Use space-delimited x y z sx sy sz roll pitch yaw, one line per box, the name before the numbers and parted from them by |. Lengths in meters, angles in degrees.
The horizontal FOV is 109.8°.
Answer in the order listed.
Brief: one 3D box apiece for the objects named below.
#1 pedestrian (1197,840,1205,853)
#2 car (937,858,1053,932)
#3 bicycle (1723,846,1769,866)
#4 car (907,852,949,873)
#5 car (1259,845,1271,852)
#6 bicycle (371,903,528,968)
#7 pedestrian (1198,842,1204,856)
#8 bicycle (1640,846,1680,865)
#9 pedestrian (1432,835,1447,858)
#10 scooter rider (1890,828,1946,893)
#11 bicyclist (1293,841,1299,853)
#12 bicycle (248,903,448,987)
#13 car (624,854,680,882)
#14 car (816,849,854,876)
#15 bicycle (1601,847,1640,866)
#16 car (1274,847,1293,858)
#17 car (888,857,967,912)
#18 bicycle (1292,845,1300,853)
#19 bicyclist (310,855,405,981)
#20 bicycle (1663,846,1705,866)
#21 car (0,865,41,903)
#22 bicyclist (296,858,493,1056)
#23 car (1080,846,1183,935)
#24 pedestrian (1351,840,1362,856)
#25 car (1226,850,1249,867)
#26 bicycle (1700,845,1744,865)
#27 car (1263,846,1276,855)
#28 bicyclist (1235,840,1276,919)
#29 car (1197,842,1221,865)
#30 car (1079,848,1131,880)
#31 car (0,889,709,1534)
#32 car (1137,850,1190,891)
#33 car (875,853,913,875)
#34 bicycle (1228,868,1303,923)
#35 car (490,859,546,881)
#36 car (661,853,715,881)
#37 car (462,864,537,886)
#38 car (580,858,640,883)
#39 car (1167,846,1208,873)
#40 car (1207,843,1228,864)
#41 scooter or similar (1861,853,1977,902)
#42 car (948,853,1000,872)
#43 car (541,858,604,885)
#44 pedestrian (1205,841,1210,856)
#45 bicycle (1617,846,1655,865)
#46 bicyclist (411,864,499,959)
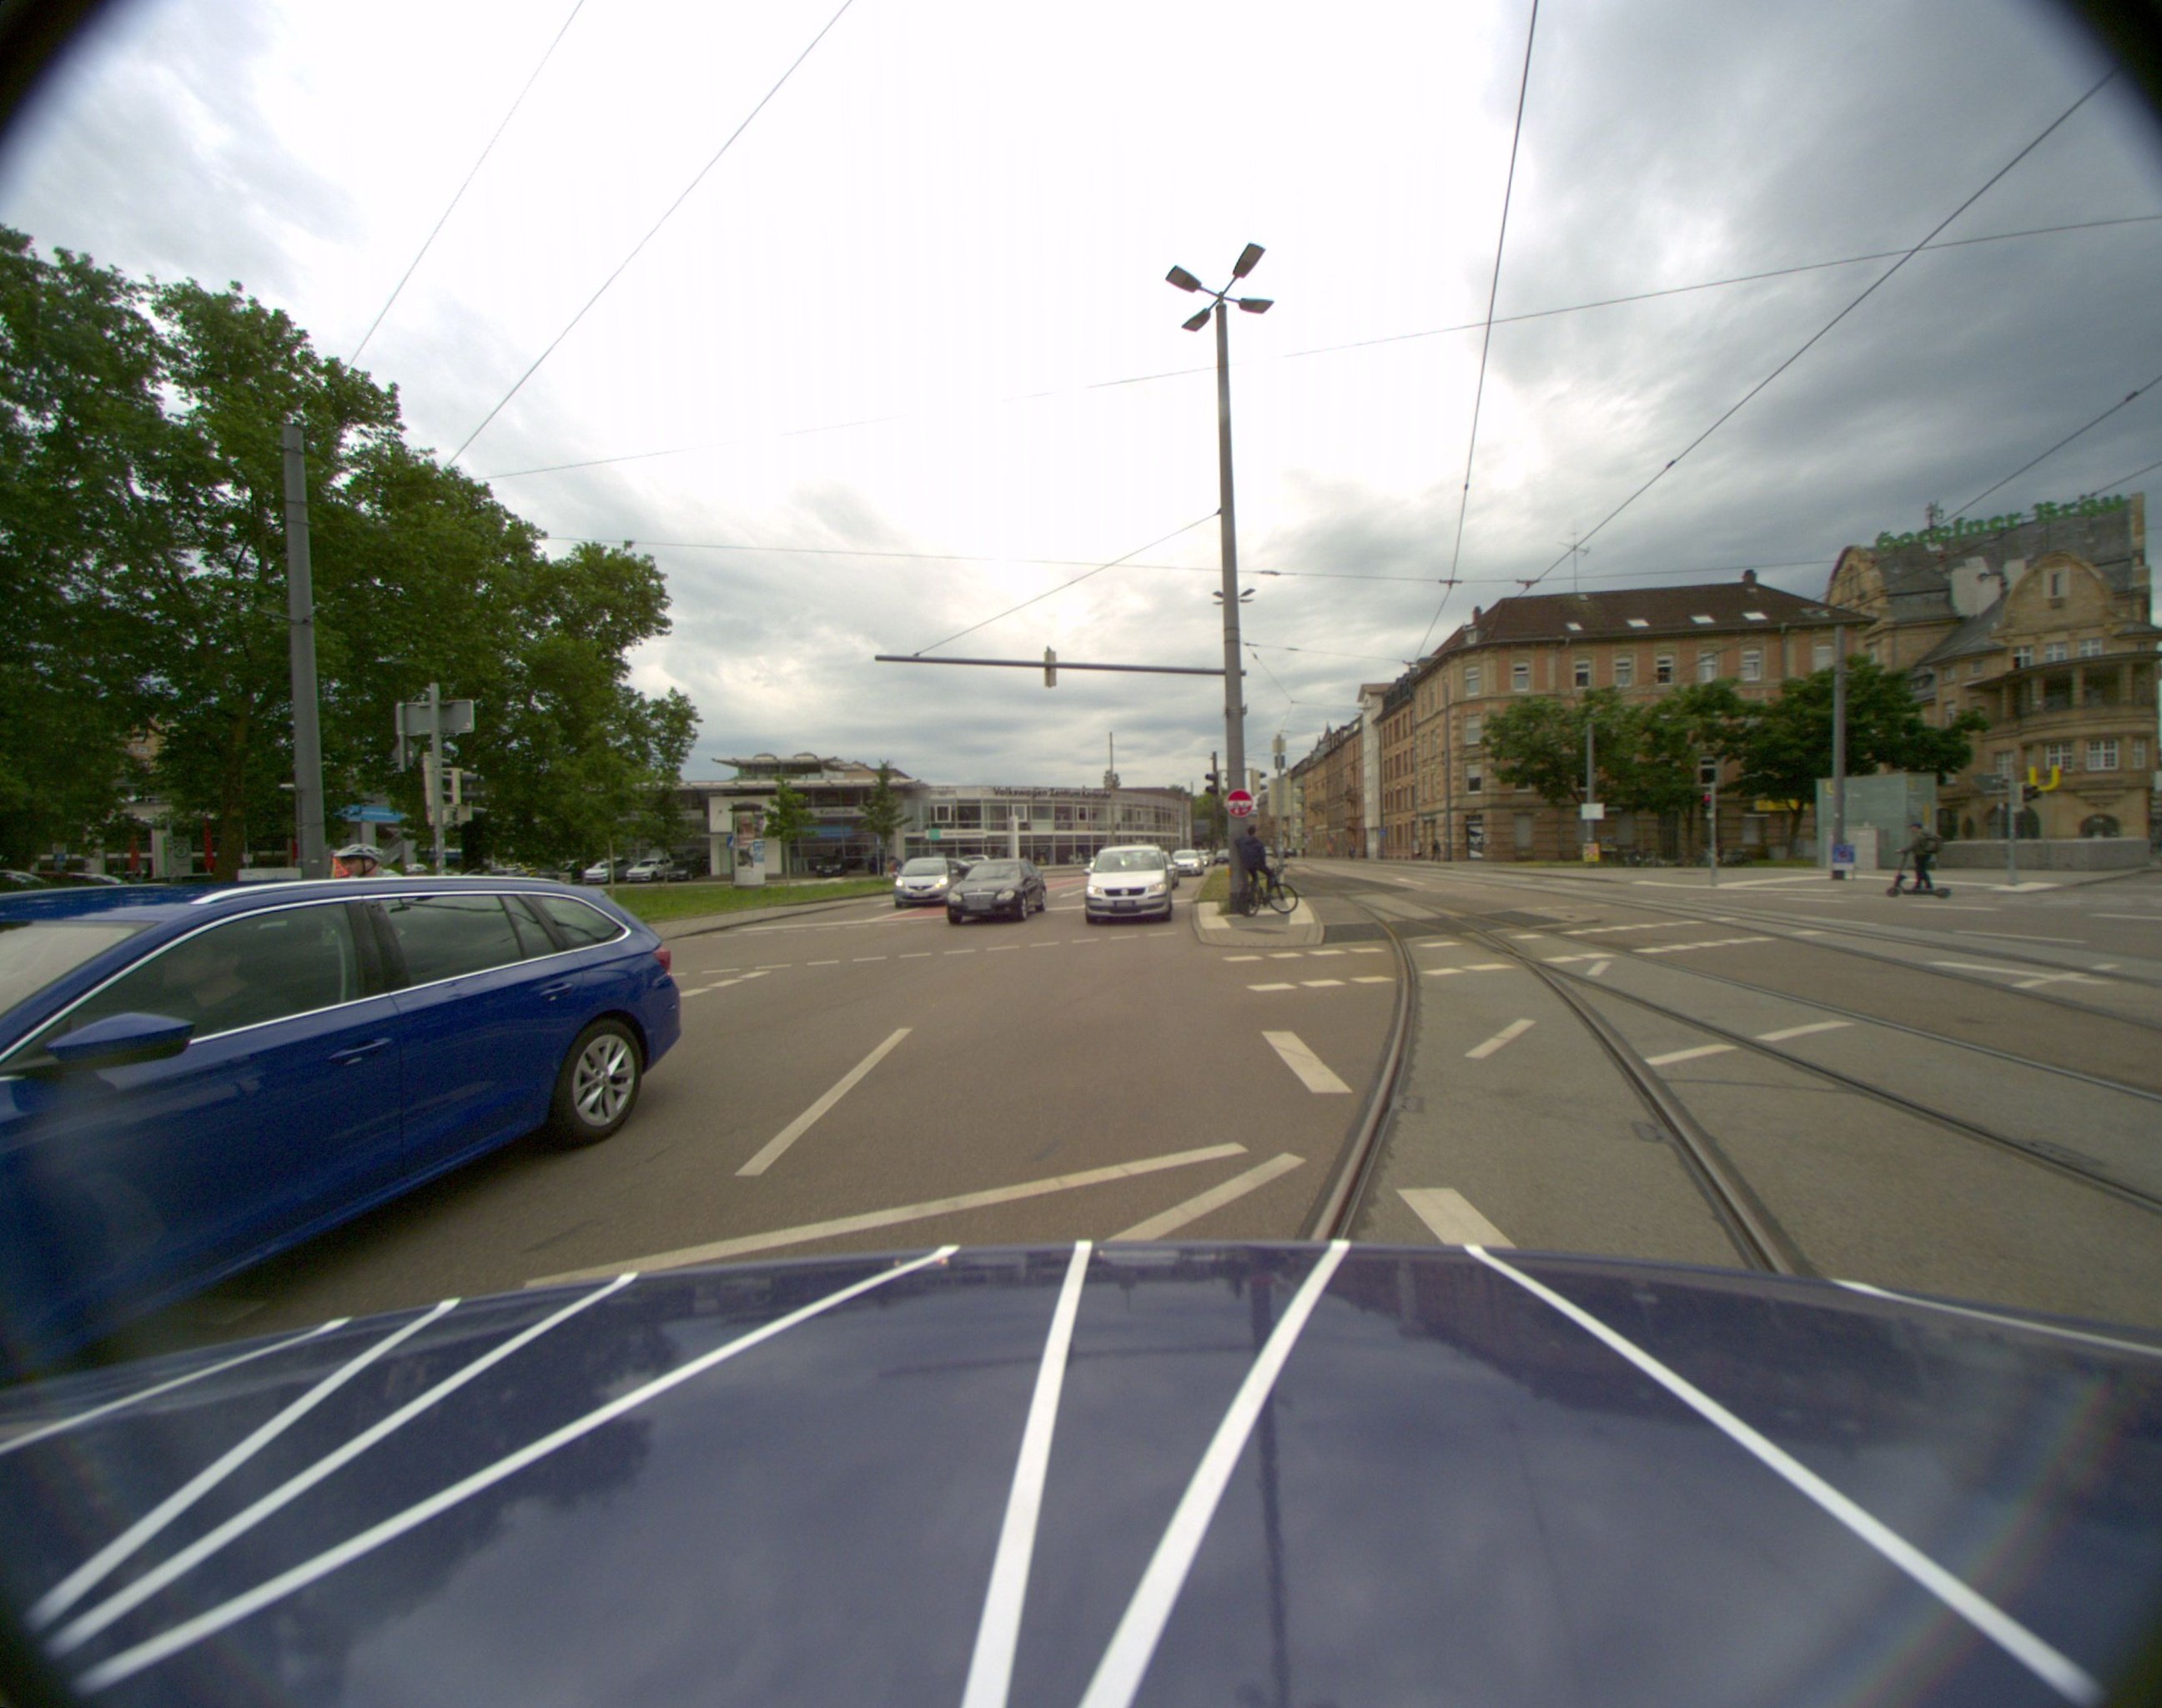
pedestrian | 18.892 -1.215 119.732 1.176 2.002 1.033 -1 1 10
car | -1.891 0.870 18.105 1.769 1.362 4.423 -2 1 6
bicycle | 36.708 0.095 42.002 0.753 1.024 2.398 -1 1 10
car | -12.182 0.684 60.304 1.794 1.552 4.024 -2 1 -34
car | 36.204 -1.109 149.313 1.813 1.423 4.020 -1 1 8
bicycle | -10.535 1.360 12.729 1.947 0.992 0.601 2 0 -11
pedestrian | 14.415 -0.647 91.170 0.662 1.671 0.651 -1 1 8
bicycle | 32.781 0.091 43.052 0.753 1.024 2.398 -1 1 10
pedestrian | 27.035 -0.572 57.269 0.811 1.666 0.799 -1 1 6
scooter rider | 21.333 0.151 19.373 0.570 1.618 0.820 -1 1 -24
bicyclist | 32.527 -1.035 114.837 0.823 1.856 0.924 -1 1 9
bicycle | -10.611 1.295 11.083 1.994 0.993 0.578 -2 4 -17
car | -32.837 1.049 58.311 1.956 1.589 4.224 -1 6 -2
car | -18.945 0.646 58.792 1.957 1.635 4.667 -1 5 -8
bicycle | 30.716 0.124 43.281 0.836 1.024 2.398 -1 1 10
car | 27.413 -0.223 103.054 1.887 1.461 4.466 -1 1 8
car | -4.726 0.887 23.912 1.709 1.475 3.933 -2 0 -1
bicycle | 32.540 -0.752 115.011 0.798 1.285 2.412 -1 1 10
bicyclist | -10.522 0.902 11.077 0.735 1.742 0.585 -2 2 -18
bicycle | 33.769 0.100 42.592 0.753 1.024 2.398 -1 1 10
car | -47.701 1.294 32.059 4.006 1.604 1.995 -1 0 -30
bicyclist | -6.052 0.864 6.760 0.790 1.609 0.933 -2 1 6
car | 1.077 0.663 16.610 1.863 1.609 5.062 -2 0 3
pedestrian | 30.858 -0.640 85.018 0.921 1.822 0.719 -1 1 -26
car | 16.855 0.449 81.673 2.370 1.744 5.134 -1 0 13
bicycle | 35.549 0.045 42.172 0.753 1.024 2.398 -1 1 10
car | 33.416 -0.613 134.995 1.834 1.635 4.233 -1 1 8
bicyclist | 3.668 0.522 16.001 0.656 1.630 0.516 -1 1 -29
car | 11.533 -0.057 68.288 1.997 2.002 4.003 -1 1 10
car | 1.309 0.501 39.768 1.980 1.550 4.148 -1 1 12
car | -3.512 0.975 2.671 1.769 1.428 4.758 -1 0 4
car | 3.104 0.572 28.630 1.809 1.398 3.984 -1 1 6
car | -14.565 0.728 59.033 1.960 1.517 4.219 -1 2 -27
bicycle | 3.930 0.862 16.152 1.617 1.064 0.527 -1 1 -30
car | -43.306 1.225 58.481 3.121 1.505 1.439 -1 5 -2
car | -30.095 0.960 58.343 1.956 1.450 4.223 -1 8 -2
car | -43.004 1.514 56.224 4.148 1.504 1.655 -1 1 -2
car | -35.775 1.218 57.828 1.956 1.459 4.224 -1 5 -2
car | 5.955 0.276 42.208 1.970 1.447 4.196 -1 0 12
car | 13.616 -0.065 75.677 1.997 2.002 4.003 -1 1 10
scooter or similar | 21.332 0.571 19.391 0.575 1.158 1.903 -1 1 -23
car | -8.710 0.683 62.091 3.904 1.433 1.732 -1 1 0
car | -38.499 1.284 57.624 1.956 1.505 4.224 -1 6 -2
pedestrian | 17.304 -0.755 103.635 0.651 1.904 0.603 -1 1 10
bicycle | 31.503 0.055 43.151 0.753 1.024 2.398 -1 1 10
bicyclist | -10.490 0.945 12.760 0.886 1.513 0.671 -1 1 -10
